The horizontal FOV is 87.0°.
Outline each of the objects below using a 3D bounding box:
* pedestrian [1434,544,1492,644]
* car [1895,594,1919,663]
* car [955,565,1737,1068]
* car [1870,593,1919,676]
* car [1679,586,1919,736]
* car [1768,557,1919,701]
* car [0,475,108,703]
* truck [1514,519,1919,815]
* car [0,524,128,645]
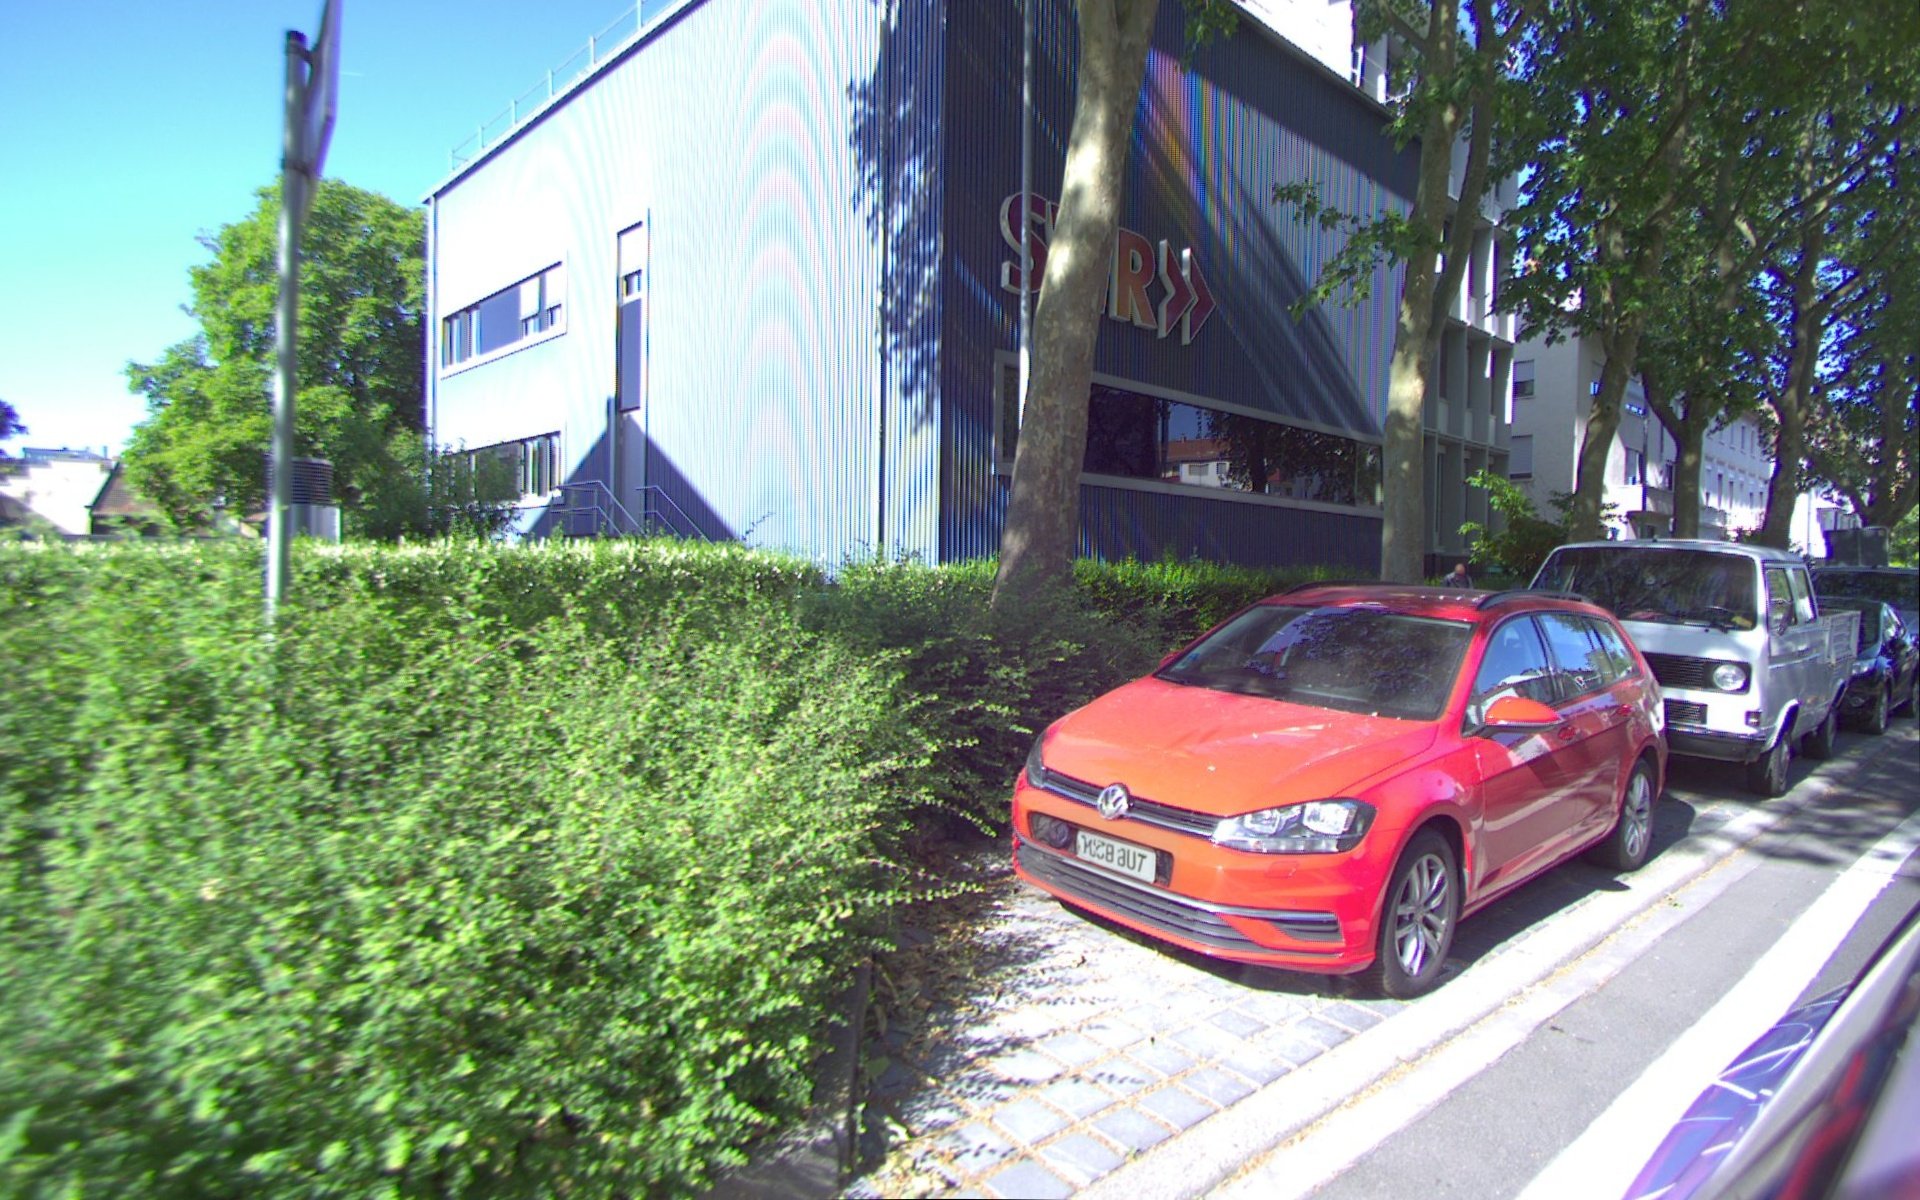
[{"bbox_3d":[8.693,-0.085,17.508,0.663,1.671,0.706,4,-4,-43],"label":"pedestrian"},{"bbox_3d":[23.298,0.629,23.602,4.177,1.527,1.766,0,1,-41],"label":"car"},{"bbox_3d":[2.319,0.623,5.295,4.595,1.526,1.825,-1,2,-40],"label":"car"},{"bbox_3d":[19.672,0.635,20.296,4.057,1.559,1.660,0,0,-41],"label":"car"},{"bbox_3d":[10.435,0.606,12.298,4.028,1.495,1.752,0,2,-39],"label":"car"},{"bbox_3d":[14.659,0.363,16.051,5.182,1.971,2.029,0,1,-42],"label":"car"},{"bbox_3d":[-8.959,-0.086,7.678,1.686,1.877,3.490,0,0,16],"label":"car"},{"bbox_3d":[6.631,0.379,8.664,4.376,1.904,1.880,-1,2,-41],"label":"truck"},{"bbox_3d":[-13.968,-0.229,13.931,1.829,1.651,3.538,1,3,11],"label":"car"}]
